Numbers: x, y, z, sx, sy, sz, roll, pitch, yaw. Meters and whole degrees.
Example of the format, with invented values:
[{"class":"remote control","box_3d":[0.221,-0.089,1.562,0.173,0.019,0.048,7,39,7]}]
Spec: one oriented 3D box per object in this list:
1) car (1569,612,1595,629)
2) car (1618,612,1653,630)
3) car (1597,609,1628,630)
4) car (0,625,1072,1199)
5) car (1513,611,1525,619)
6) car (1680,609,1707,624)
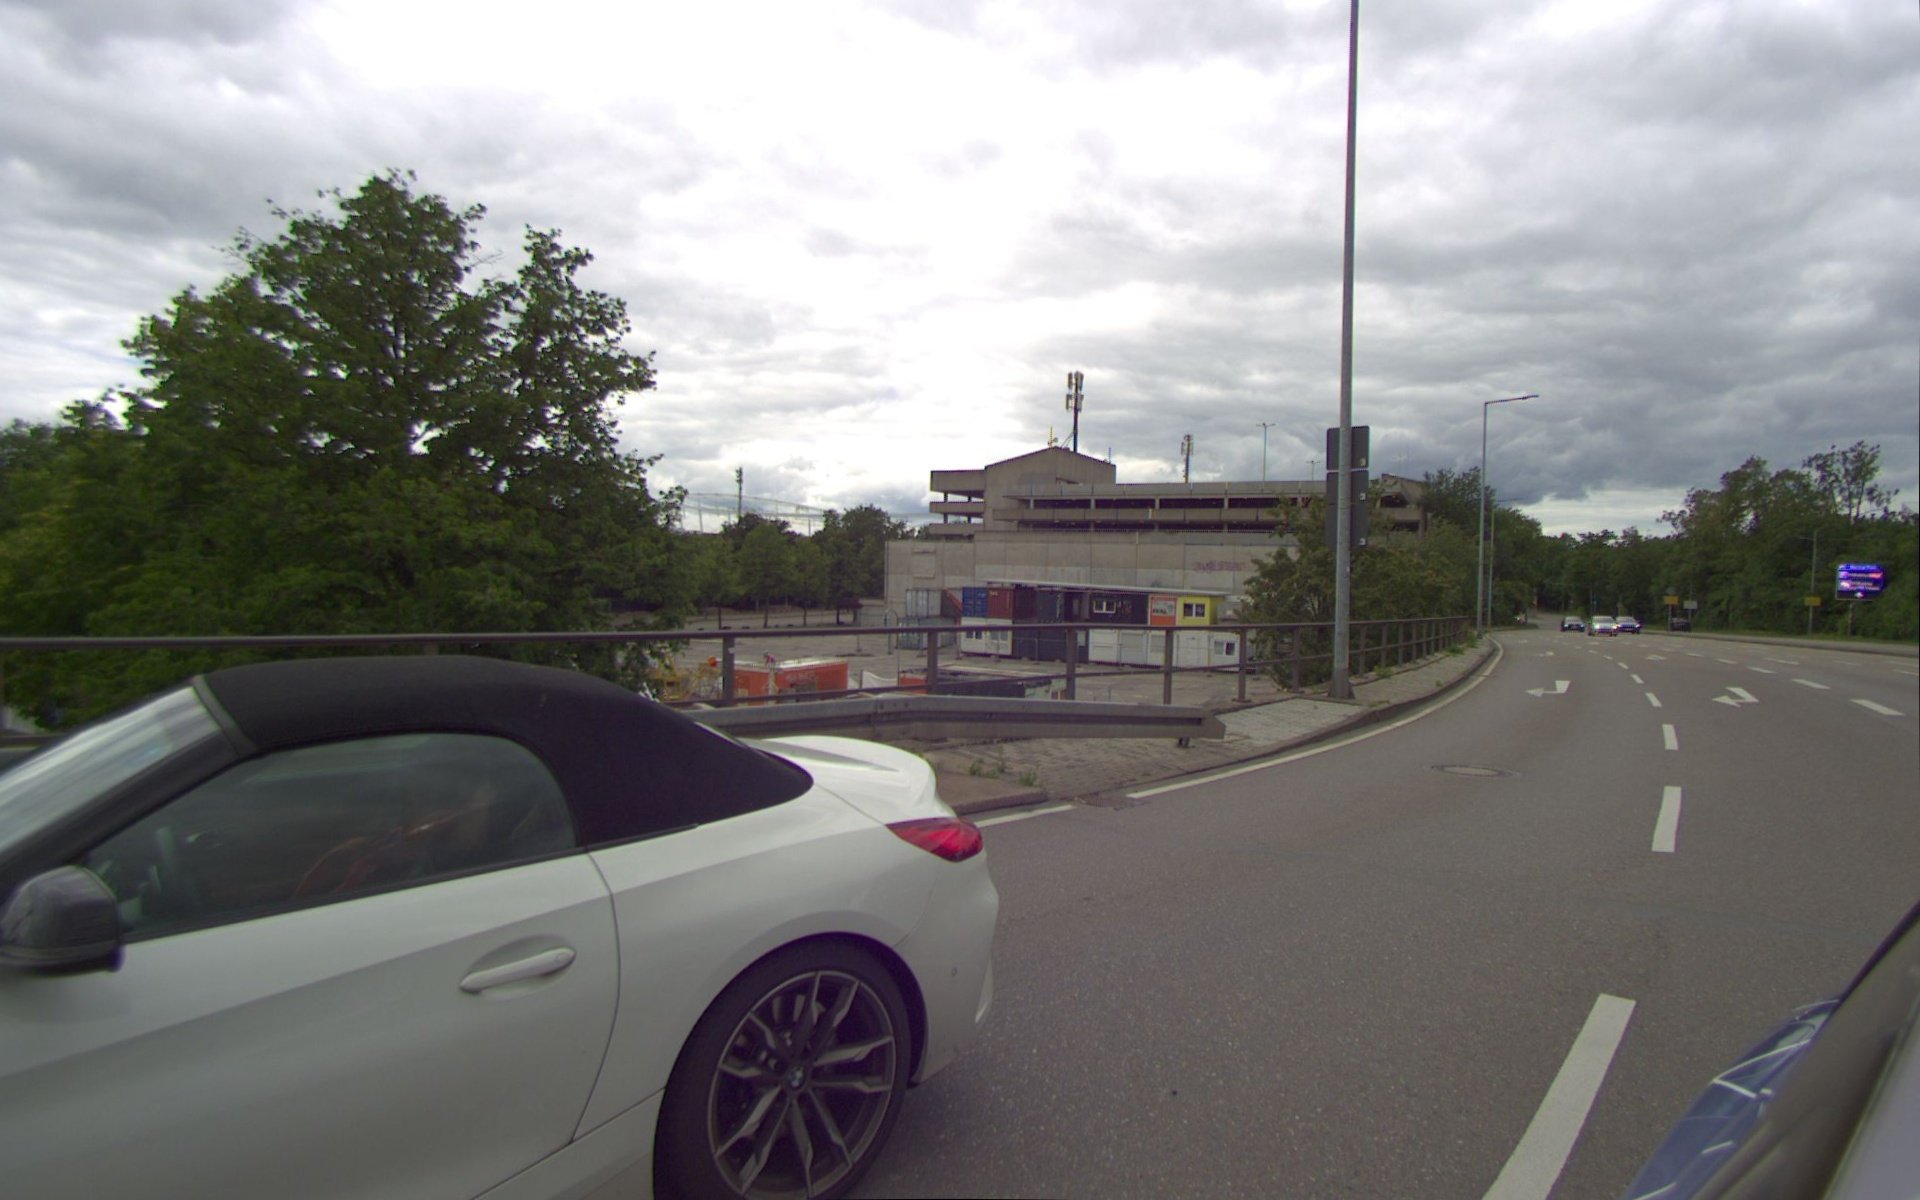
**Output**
[{"class":"car","box_3d":[58.740,1.925,95.622,1.849,1.434,4.295,1,0,28]},{"class":"car","box_3d":[56.530,1.718,84.735,1.825,1.434,4.539,1,0,26]},{"class":"car","box_3d":[47.731,1.418,74.052,1.596,1.434,3.555,1,0,29]},{"class":"car","box_3d":[-1.871,0.758,2.303,4.185,1.308,1.809,0,0,-38]},{"class":"car","box_3d":[102.352,2.673,185.248,1.849,1.434,4.295,1,0,28]},{"class":"car","box_3d":[76.663,1.685,105.790,1.689,1.483,3.960,-1,0,28]}]
